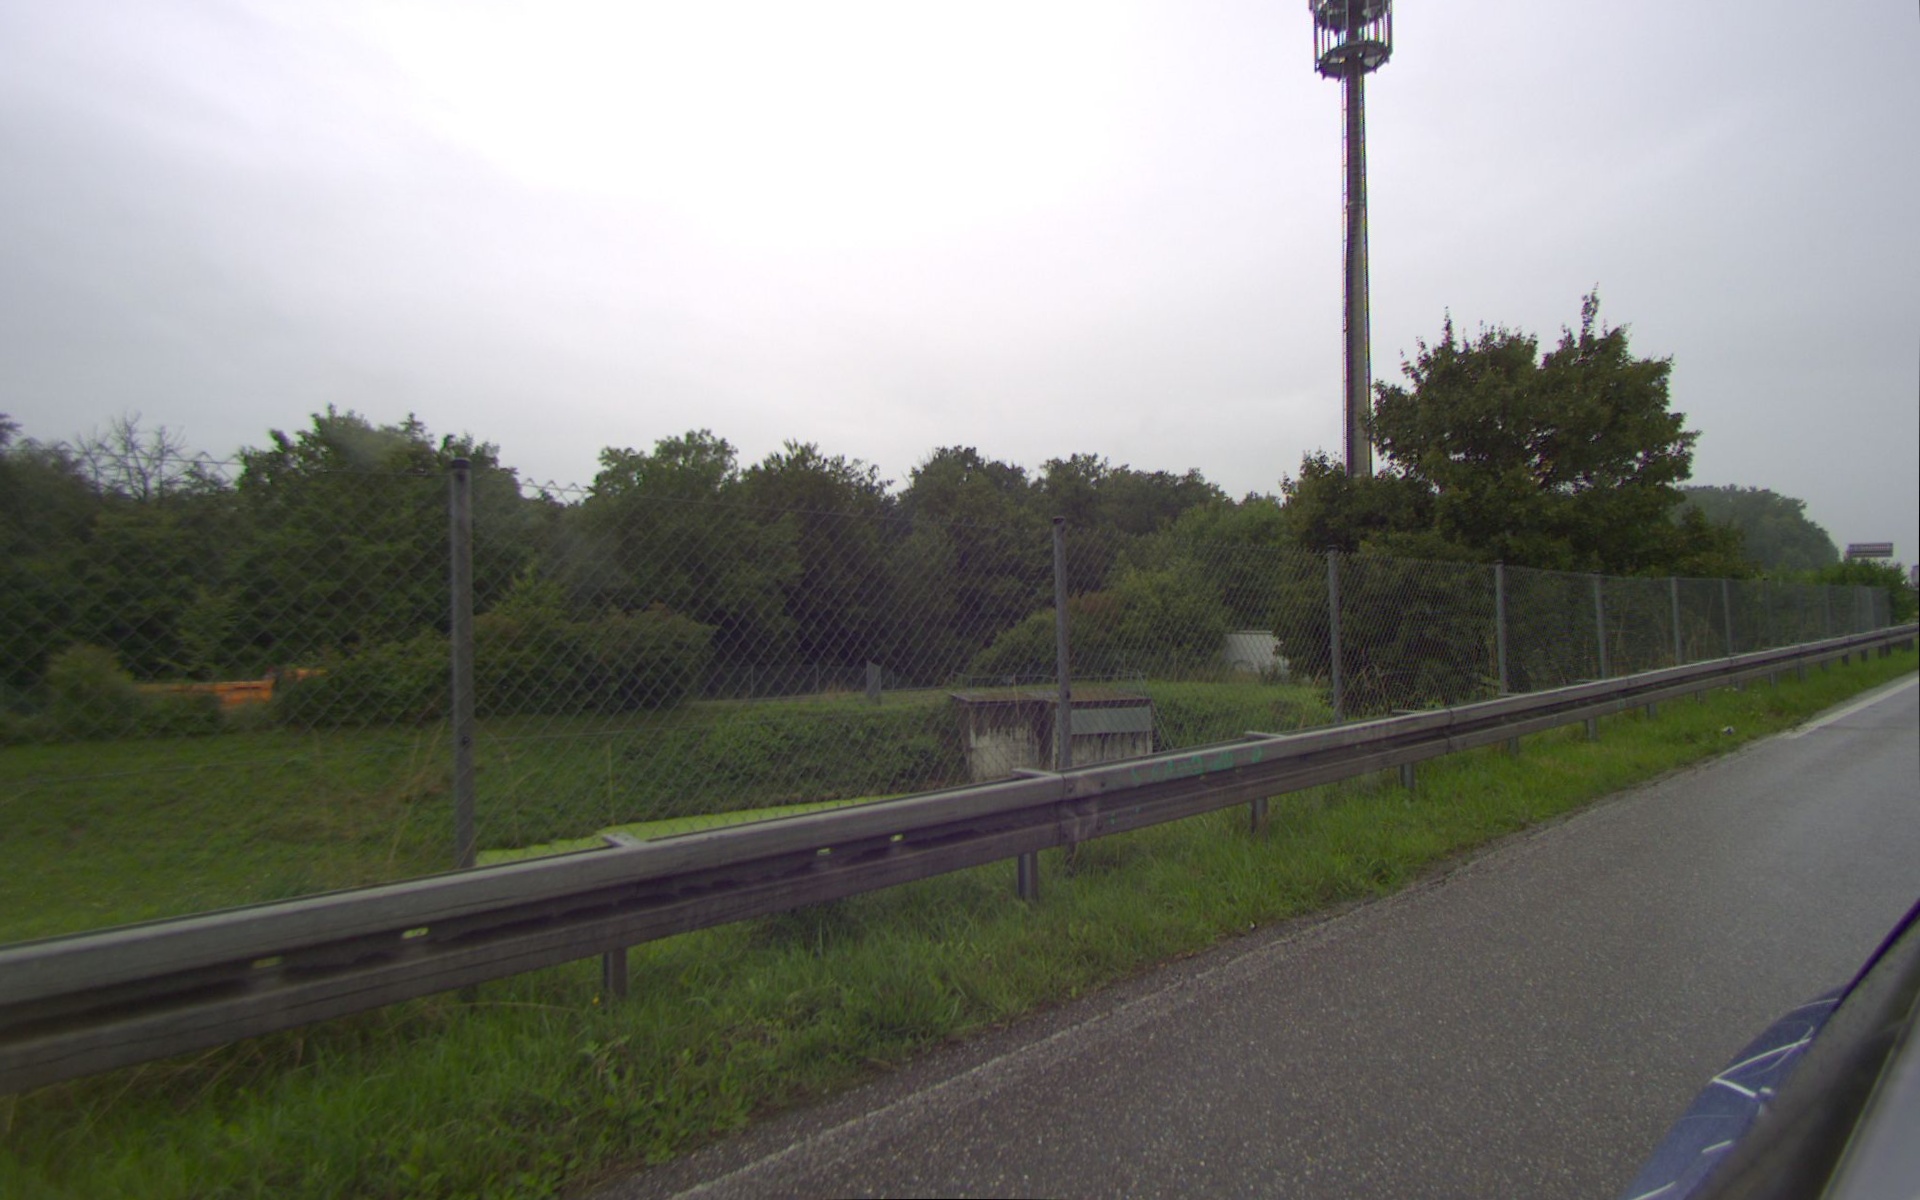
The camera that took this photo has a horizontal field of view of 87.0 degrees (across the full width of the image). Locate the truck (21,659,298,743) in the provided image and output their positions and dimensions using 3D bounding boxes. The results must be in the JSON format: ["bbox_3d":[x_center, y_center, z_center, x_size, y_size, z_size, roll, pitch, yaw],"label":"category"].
[{"bbox_3d":[-30.514,3.807,38.965,8.121,2.697,2.828,1,-6,-42],"label":"truck"}]
